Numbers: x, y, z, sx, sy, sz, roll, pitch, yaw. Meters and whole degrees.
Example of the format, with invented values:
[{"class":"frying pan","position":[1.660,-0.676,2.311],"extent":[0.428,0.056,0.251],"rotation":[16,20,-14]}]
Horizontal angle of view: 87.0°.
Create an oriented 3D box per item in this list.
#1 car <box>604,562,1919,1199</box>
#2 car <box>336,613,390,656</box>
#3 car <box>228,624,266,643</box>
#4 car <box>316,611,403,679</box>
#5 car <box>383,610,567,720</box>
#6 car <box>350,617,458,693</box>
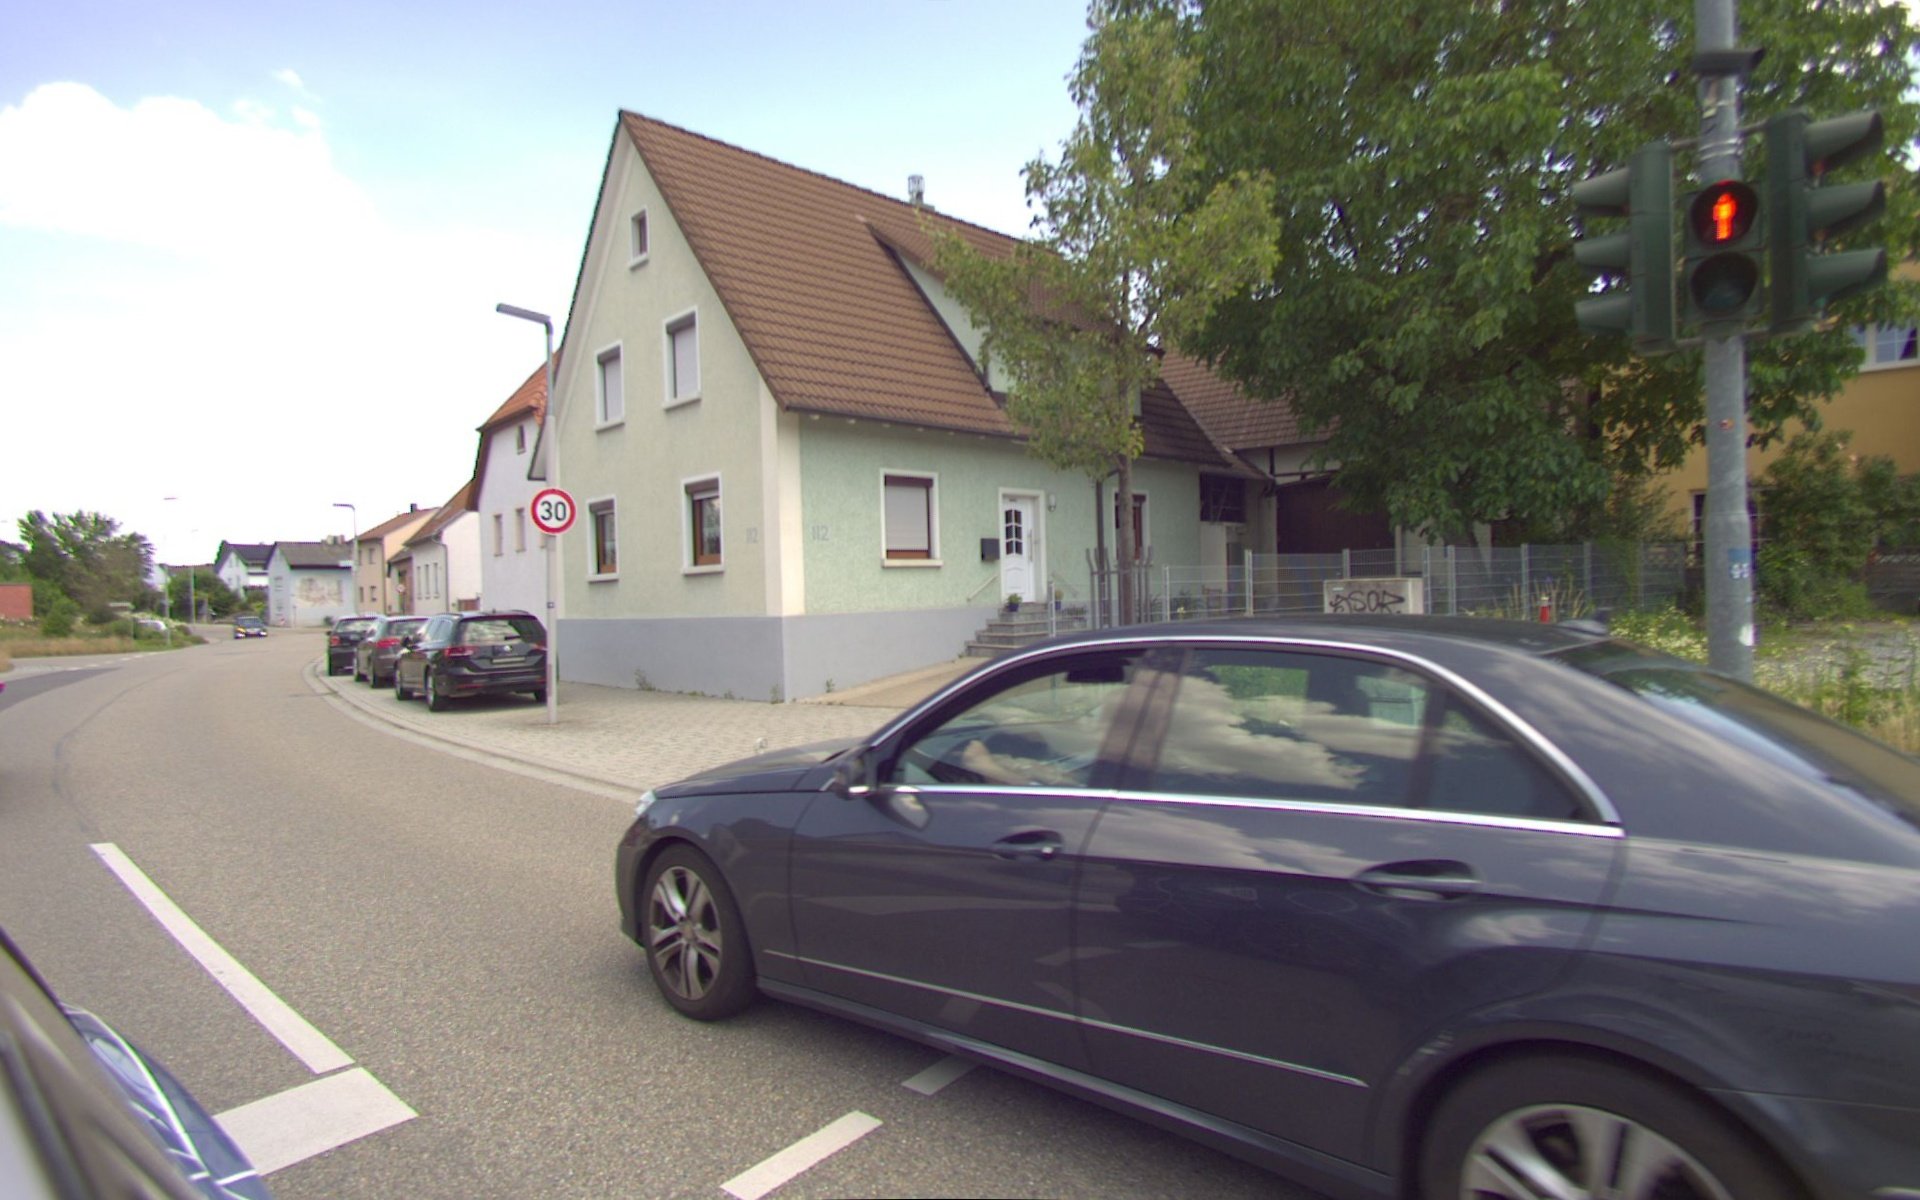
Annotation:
[{"class":"car","position":[0.976,0.712,3.060],"extent":[4.593,1.446,1.864],"rotation":[-2,-2,41]},{"class":"car","position":[-23.875,1.350,40.532],"extent":[1.632,1.586,3.703],"rotation":[-1,0,-27]},{"class":"car","position":[-51.100,2.382,72.502],"extent":[1.968,1.198,4.007],"rotation":[0,-1,-39]},{"class":"car","position":[-15.472,1.097,25.998],"extent":[1.633,1.574,3.701],"rotation":[-1,0,-35]},{"class":"car","position":[-7.988,0.941,16.434],"extent":[1.710,1.502,4.509],"rotation":[-1,0,-39]},{"class":"car","position":[-11.838,1.086,21.442],"extent":[1.633,1.406,3.701],"rotation":[-1,0,-35]}]
